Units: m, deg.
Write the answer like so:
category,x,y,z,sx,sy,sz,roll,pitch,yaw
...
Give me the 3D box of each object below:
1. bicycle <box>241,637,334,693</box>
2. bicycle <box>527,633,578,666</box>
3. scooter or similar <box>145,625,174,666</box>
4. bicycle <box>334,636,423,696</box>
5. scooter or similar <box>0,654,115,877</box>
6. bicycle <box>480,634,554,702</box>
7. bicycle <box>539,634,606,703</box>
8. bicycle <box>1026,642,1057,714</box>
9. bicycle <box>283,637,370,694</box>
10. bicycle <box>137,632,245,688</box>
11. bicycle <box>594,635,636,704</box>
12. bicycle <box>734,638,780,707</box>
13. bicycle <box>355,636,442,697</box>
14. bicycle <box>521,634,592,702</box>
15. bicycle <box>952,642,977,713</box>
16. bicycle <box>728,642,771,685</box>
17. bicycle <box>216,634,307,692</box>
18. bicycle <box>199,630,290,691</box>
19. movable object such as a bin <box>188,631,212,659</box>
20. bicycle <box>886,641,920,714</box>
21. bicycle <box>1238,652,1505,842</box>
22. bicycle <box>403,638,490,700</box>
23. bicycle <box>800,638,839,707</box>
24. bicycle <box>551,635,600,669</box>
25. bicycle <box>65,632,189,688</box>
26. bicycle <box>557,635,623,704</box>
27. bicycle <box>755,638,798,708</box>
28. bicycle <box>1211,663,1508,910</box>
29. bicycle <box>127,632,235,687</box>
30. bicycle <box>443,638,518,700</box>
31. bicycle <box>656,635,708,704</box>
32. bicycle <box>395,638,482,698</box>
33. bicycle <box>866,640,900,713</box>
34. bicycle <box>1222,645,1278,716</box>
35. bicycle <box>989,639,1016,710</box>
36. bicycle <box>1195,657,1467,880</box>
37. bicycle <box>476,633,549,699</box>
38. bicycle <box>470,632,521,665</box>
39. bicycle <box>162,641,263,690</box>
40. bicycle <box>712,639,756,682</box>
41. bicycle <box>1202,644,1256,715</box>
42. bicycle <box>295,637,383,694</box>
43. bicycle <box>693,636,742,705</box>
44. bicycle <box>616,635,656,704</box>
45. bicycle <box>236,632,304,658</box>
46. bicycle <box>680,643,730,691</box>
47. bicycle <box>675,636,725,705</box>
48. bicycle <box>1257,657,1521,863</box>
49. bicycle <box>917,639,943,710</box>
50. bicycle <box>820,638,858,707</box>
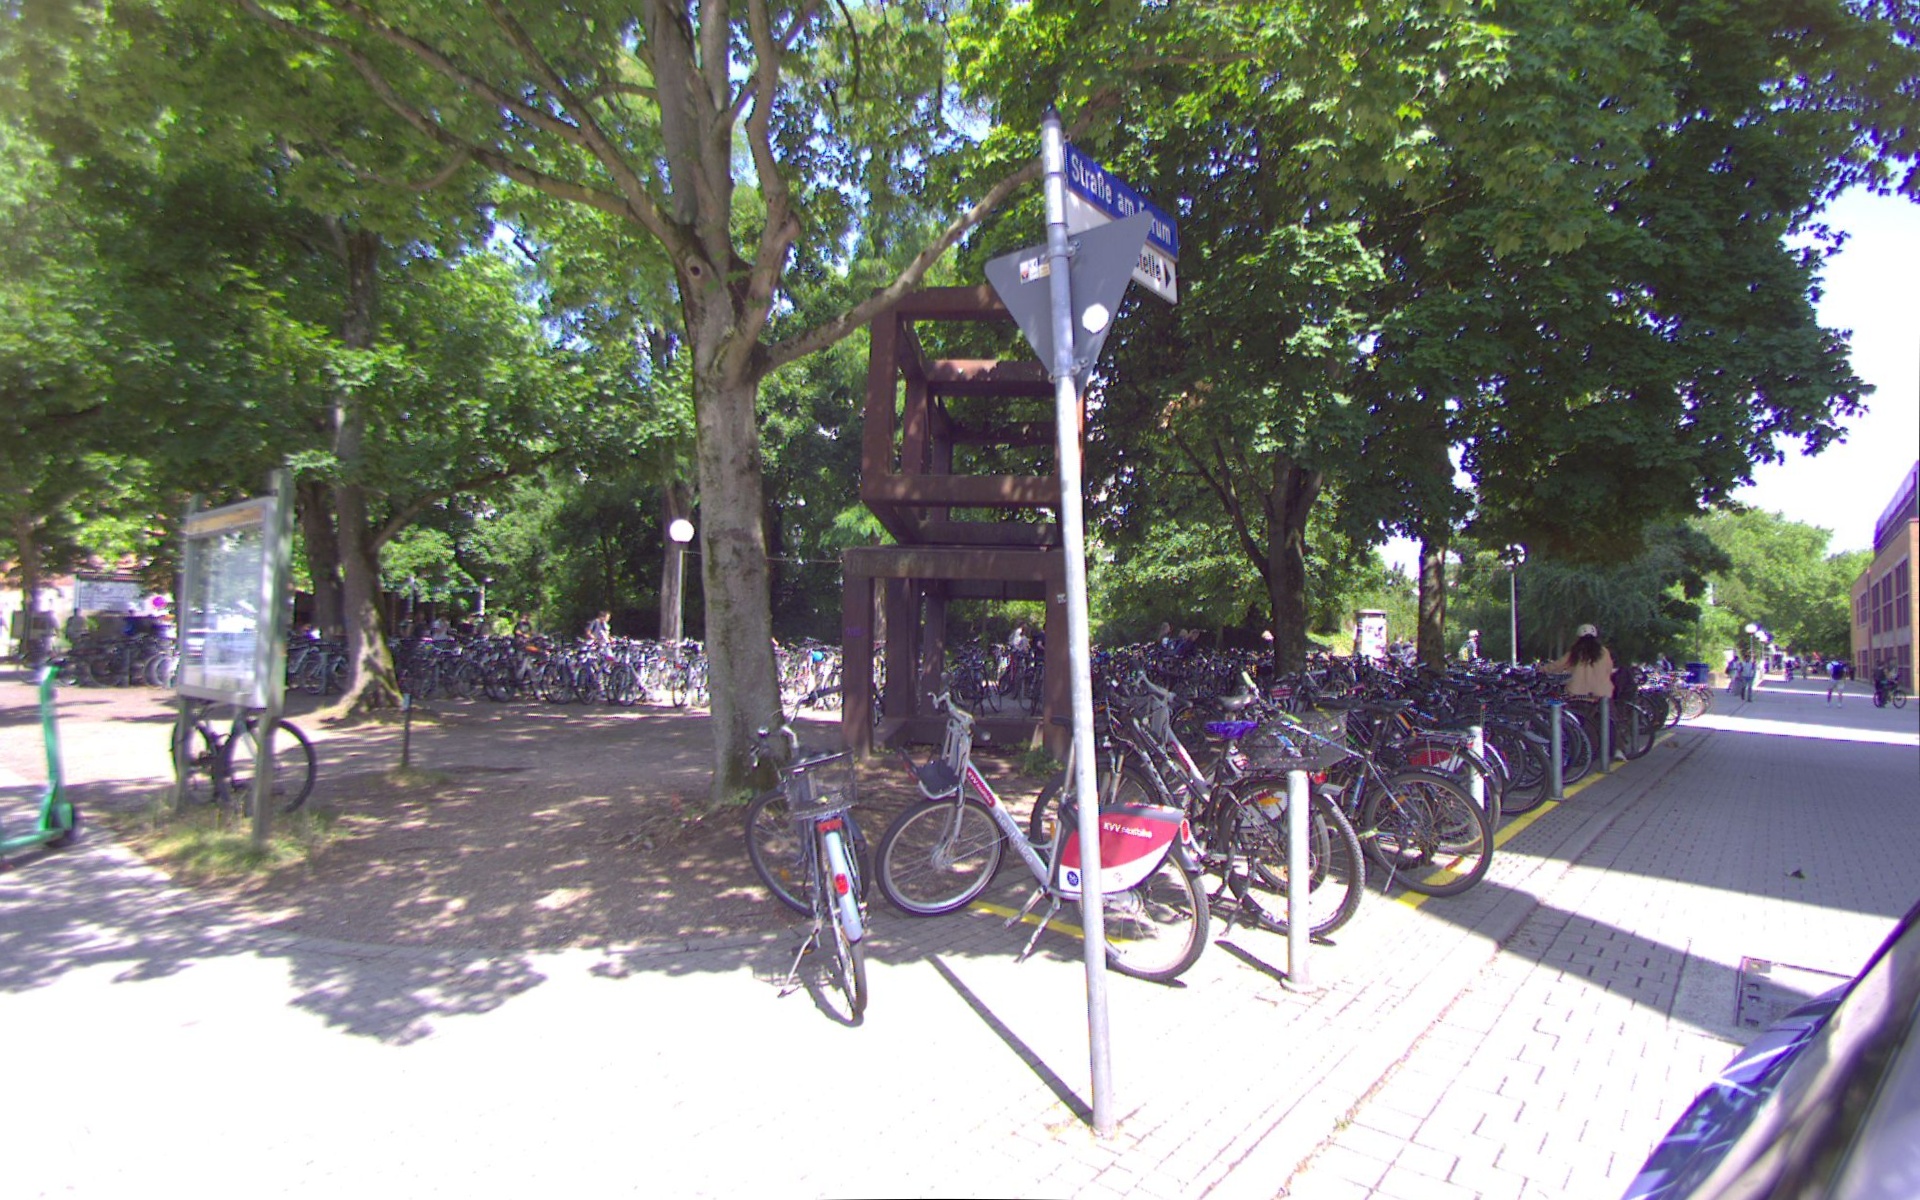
category,x,y,z,sx,sy,sz,roll,pitch,yaw
bicycle,-13.252,1.260,20.012,0.433,1.041,1.792,1,-2,8
bicycle,-13.385,1.605,33.292,0.472,1.053,1.821,-1,-2,18
scooter or similar,-24.404,1.376,30.849,1.288,1.235,0.419,-2,-4,41
bicycle,-11.127,1.247,19.435,0.419,1.084,1.787,1,-2,9
scooter or similar,-5.559,0.917,5.995,0.487,1.128,1.364,2,-1,-25
bicycle,-8.124,1.216,18.641,0.395,1.185,1.789,1,-2,6
bicycle,-7.110,1.230,18.656,0.339,1.185,1.841,1,-2,6
bicycle,1.439,1.360,18.028,0.406,1.185,1.844,1,-2,1
bicycle,-12.375,1.259,19.828,0.375,1.041,1.788,1,-2,8
bicycle,-15.634,1.203,20.639,0.321,1.073,1.903,0,-2,16
bicycle,-6.270,1.238,18.448,0.338,1.185,1.847,1,-2,-8
bicycle,-3.686,1.293,18.498,0.346,1.185,1.843,1,-2,3
bicycle,-10.701,1.245,19.355,0.419,1.084,1.787,1,-2,9
bicycle,-7.464,1.234,18.798,0.395,1.185,1.841,1,-2,6
bicycle,0.086,1.351,18.068,0.406,1.185,1.844,1,-2,1
bicycle,-5.180,1.557,25.034,0.372,0.991,1.898,0,-2,9
bicycle,-13.730,1.217,19.941,0.485,1.066,1.736,1,-2,3
bicycle,-14.385,1.190,20.392,0.485,1.170,1.736,1,-2,3
movable object such as a bin,-30.638,1.823,40.786,0.739,1.085,0.592,-4,-5,41
bicycle,-0.978,1.322,17.748,0.381,1.185,1.843,1,-2,3
bicycle,2.850,0.966,7.147,0.474,1.099,1.692,1,0,-44
bicycle,-9.570,1.268,18.932,0.420,1.084,1.786,0,-2,11
bicycle,-2.540,1.292,18.459,0.346,1.185,1.843,1,-2,3
bicycle,-12.355,1.666,32.598,0.472,1.053,1.742,-1,-2,18
bicycle,-17.029,1.209,20.744,0.401,1.096,1.930,0,-2,28
bicycle,-6.767,1.239,18.598,0.339,1.185,1.841,1,-2,6
bicycle,-3.321,1.291,18.434,0.346,1.185,1.843,1,-2,3
bicycle,2.137,0.940,5.515,1.433,1.099,0.454,1,0,38
bicycle,-15.923,1.203,20.743,0.321,1.073,1.903,0,-2,16
bicycle,-8.948,1.268,18.954,0.419,1.084,1.790,1,-2,4
bicycle,-5.071,1.238,18.539,0.339,1.185,1.843,1,-2,3
bicycle,-9.913,1.266,19.295,0.420,1.084,1.786,0,-2,11
bicycle,-1.346,1.323,17.951,0.346,1.185,1.843,1,-2,3
bicycle,5.236,1.432,18.353,0.339,1.185,1.846,1,-2,-5
bicycle,0.757,1.311,18.258,0.406,1.185,1.844,1,-2,1
bicycle,2.187,0.942,6.088,1.468,1.099,0.454,1,0,42
bicycle,-8.468,1.225,19.223,0.395,1.185,1.789,1,-2,6
bicycle,-15.184,1.577,33.114,0.429,1.053,1.773,-1,-2,18
bicycle,-14.910,1.293,20.248,0.487,0.921,1.732,1,-2,10
bicycle,-5.586,1.477,25.106,0.372,0.991,1.898,0,-2,9
bicycle,4.883,1.418,18.464,0.339,1.185,1.846,1,-2,-5
bicycle,-12.040,1.246,19.677,0.375,1.041,1.788,1,-2,8
bicycle,-4.400,1.252,18.490,0.339,1.185,1.843,1,-2,3
bicycle,-5.904,1.235,18.481,0.338,1.185,1.847,1,-2,-8
bicycle,-30.257,1.987,44.402,2.359,1.086,0.782,4,-5,-38
bicycle,-5.701,1.472,22.715,0.372,0.991,1.898,0,-2,9
bicycle,-4.732,1.254,18.514,0.339,1.185,1.843,1,-2,3
bicycle,2.749,0.971,6.595,0.474,1.099,1.511,1,0,-44
bicycle,-0.519,1.289,17.973,0.381,1.185,1.844,1,-2,1
bicycle,-2.188,1.290,18.448,0.346,1.185,1.843,1,-2,3
